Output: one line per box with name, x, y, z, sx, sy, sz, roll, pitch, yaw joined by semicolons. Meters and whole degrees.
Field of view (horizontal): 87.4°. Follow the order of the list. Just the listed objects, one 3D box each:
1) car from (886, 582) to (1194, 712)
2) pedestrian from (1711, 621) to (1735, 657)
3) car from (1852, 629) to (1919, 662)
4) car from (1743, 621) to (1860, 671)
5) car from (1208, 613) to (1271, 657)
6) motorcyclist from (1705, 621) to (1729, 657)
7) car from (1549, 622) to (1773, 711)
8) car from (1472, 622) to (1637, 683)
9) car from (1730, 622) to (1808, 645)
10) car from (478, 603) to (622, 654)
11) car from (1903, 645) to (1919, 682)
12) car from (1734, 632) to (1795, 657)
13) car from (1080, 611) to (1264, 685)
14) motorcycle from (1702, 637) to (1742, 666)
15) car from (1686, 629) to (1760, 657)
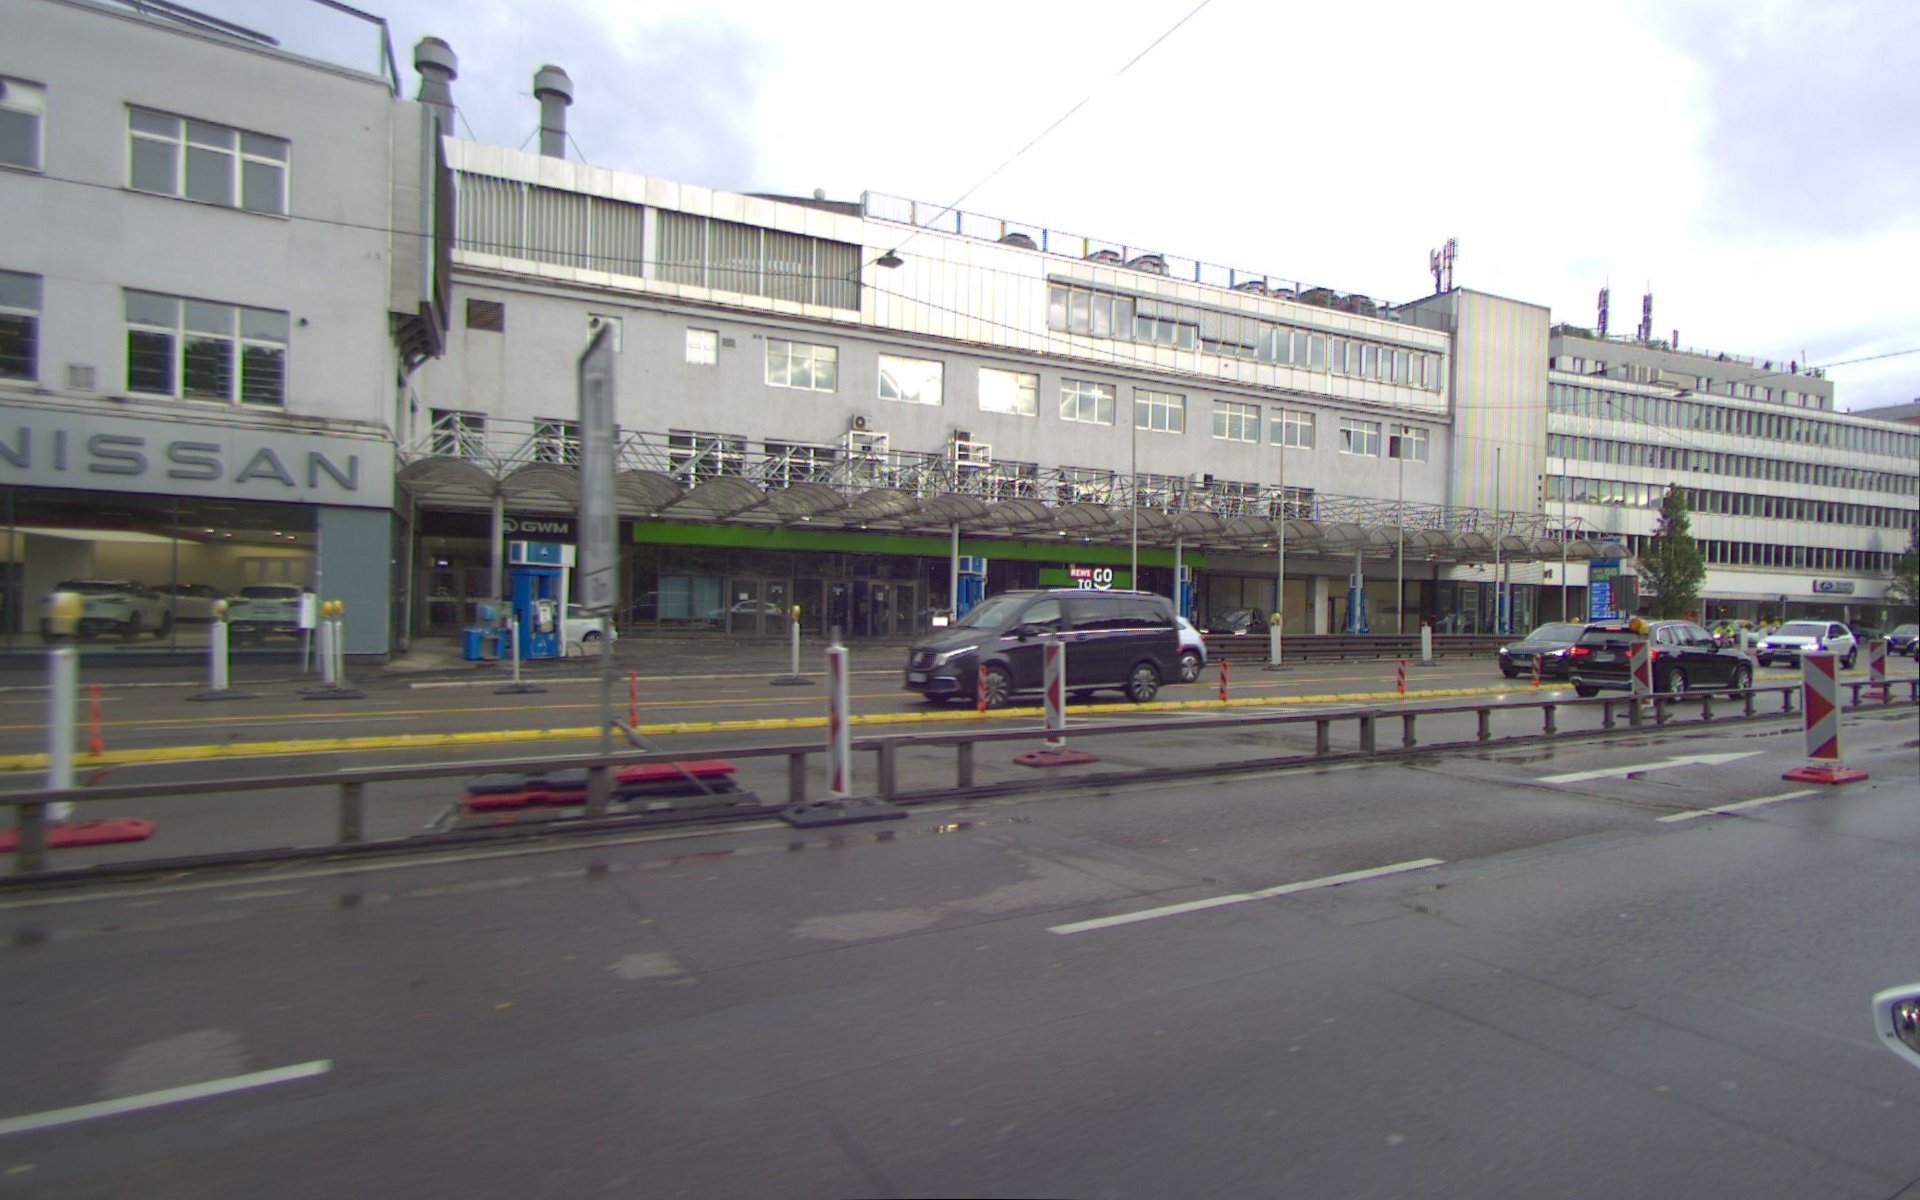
car;1.471;0.806;17.403;5.172;1.962;1.983;2;-2;-31
pedestrian;30.052;1.521;39.548;0.555;1.381;0.585;1;-1;-32
car;45.826;2.211;49.556;4.033;1.556;1.701;2;-2;-33
car;30.217;1.628;36.036;4.529;1.712;1.928;2;-1;-32
car;11.421;1.439;41.318;1.973;1.701;4.483;0;-2;9
motorcyclist;29.561;1.520;39.229;0.555;1.381;0.585;1;-1;-32
car;14.922;1.329;21.357;4.610;1.619;1.940;1;2;-27
car;15.817;1.379;26.650;4.655;1.485;1.841;2;-2;-32
car;62.180;2.550;77.302;4.302;1.673;1.853;0;-2;25
car;-12.686;0.905;31.124;3.920;1.502;1.805;2;-2;-30
car;42.782;2.746;43.434;4.252;1.541;1.948;1;-1;-32
car;51.433;2.844;64.220;3.706;1.555;1.647;2;-2;-26
car;5.032;1.127;23.707;4.216;1.606;1.739;2;-2;-31
motorcycle;29.965;2.008;39.483;2.004;1.117;0.576;2;-2;-31
car;51.719;2.937;68.071;4.659;1.802;1.845;2;-2;-21
